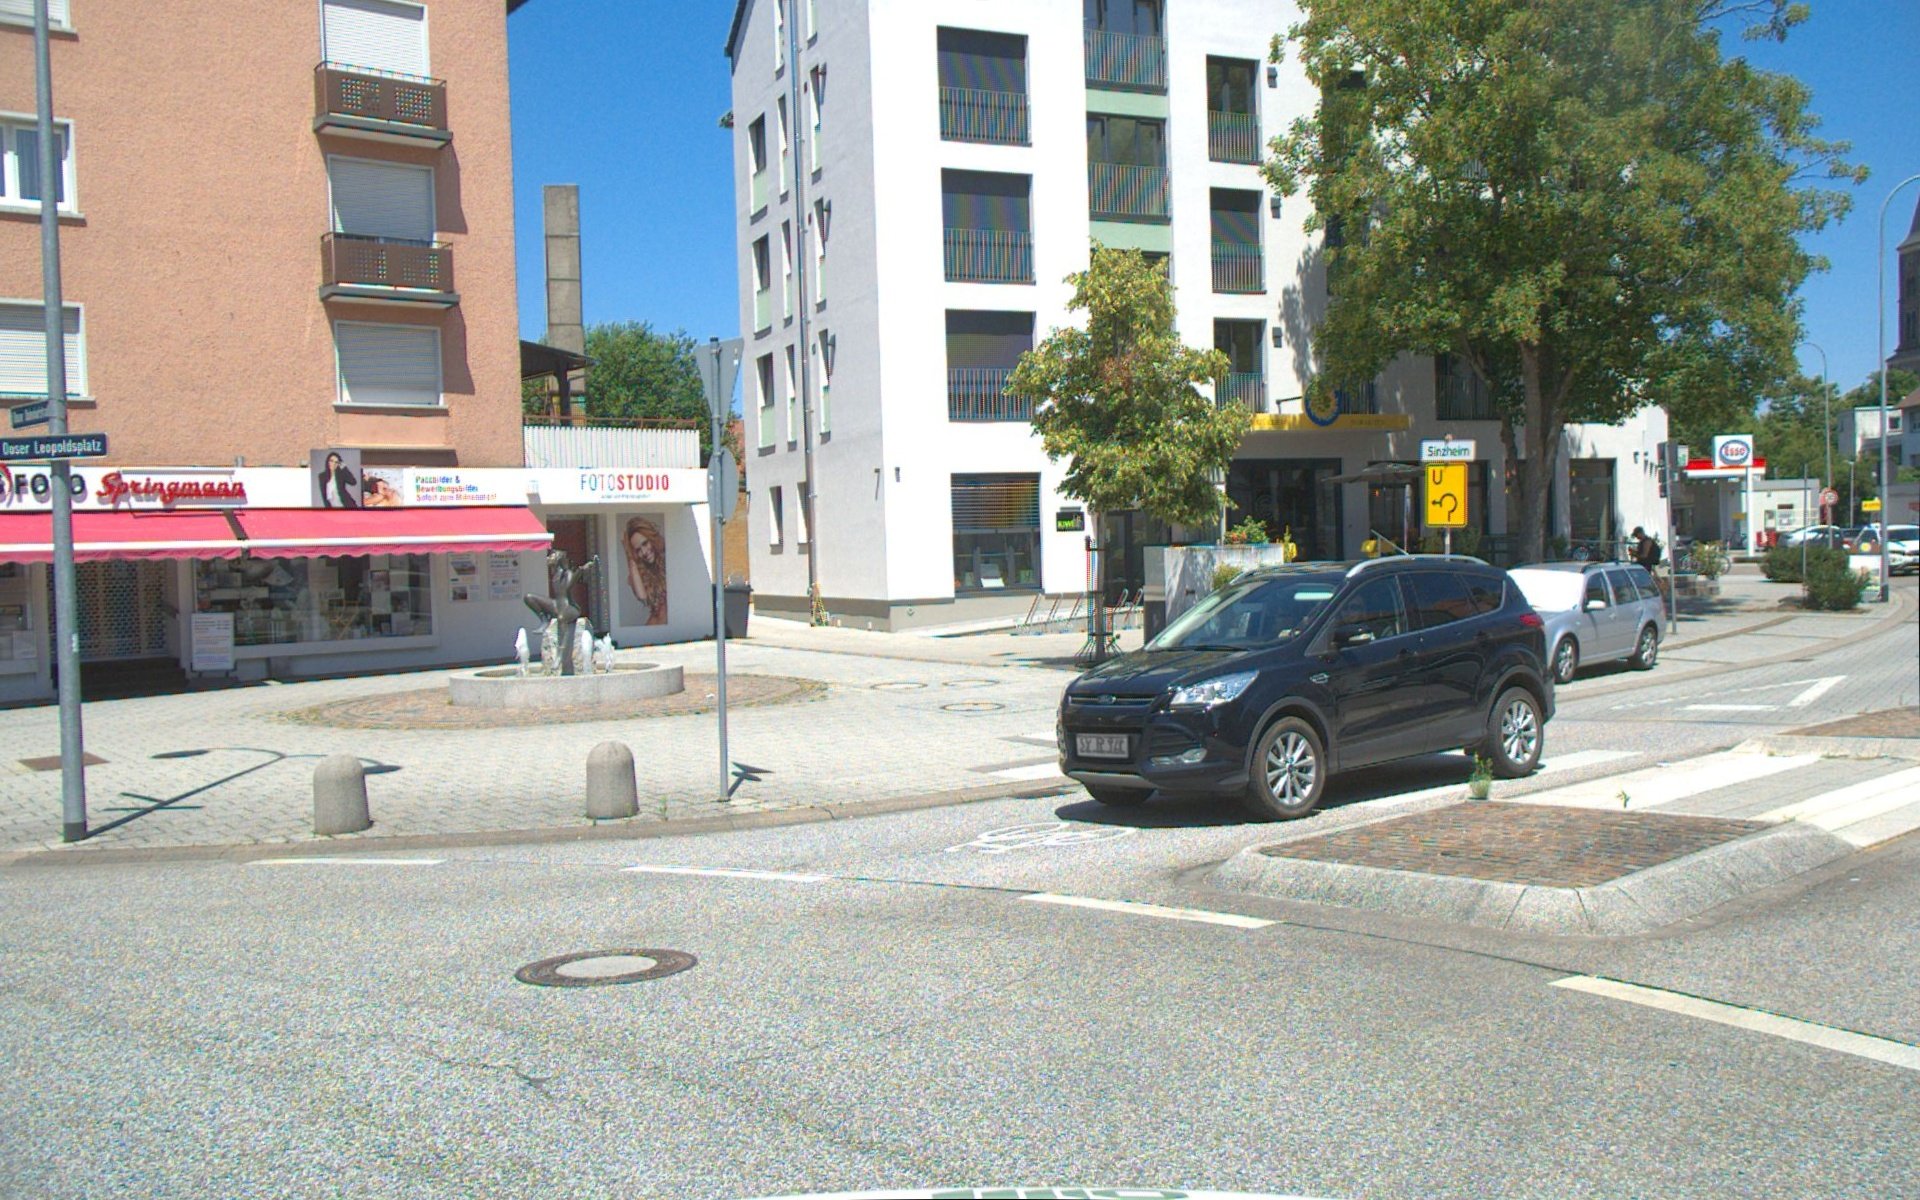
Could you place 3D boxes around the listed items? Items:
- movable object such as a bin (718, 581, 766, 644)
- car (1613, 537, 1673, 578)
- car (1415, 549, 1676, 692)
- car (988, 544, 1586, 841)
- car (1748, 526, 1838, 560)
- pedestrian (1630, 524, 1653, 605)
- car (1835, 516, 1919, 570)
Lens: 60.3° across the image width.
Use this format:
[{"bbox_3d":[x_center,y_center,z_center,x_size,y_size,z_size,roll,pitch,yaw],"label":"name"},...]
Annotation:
[{"bbox_3d":[-4.354,0.235,33.028,0.748,1.175,0.769,-3,4,-21],"label":"movable object such as a bin"},{"bbox_3d":[28.424,-1.792,68.942,1.792,1.601,4.004,-2,1,15],"label":"car"},{"bbox_3d":[7.942,0.193,22.264,3.971,1.617,1.772,-4,4,-44],"label":"car"},{"bbox_3d":[2.558,0.535,12.301,4.485,1.717,1.971,-3,1,-40],"label":"car"},{"bbox_3d":[45.408,-3.119,90.183,3.909,1.679,1.999,-2,4,-4],"label":"car"},{"bbox_3d":[14.394,-0.754,34.926,0.397,1.656,0.651,0,4,28],"label":"pedestrian"},{"bbox_3d":[29.628,-1.816,52.494,1.793,1.601,4.003,-3,2,4],"label":"car"}]
